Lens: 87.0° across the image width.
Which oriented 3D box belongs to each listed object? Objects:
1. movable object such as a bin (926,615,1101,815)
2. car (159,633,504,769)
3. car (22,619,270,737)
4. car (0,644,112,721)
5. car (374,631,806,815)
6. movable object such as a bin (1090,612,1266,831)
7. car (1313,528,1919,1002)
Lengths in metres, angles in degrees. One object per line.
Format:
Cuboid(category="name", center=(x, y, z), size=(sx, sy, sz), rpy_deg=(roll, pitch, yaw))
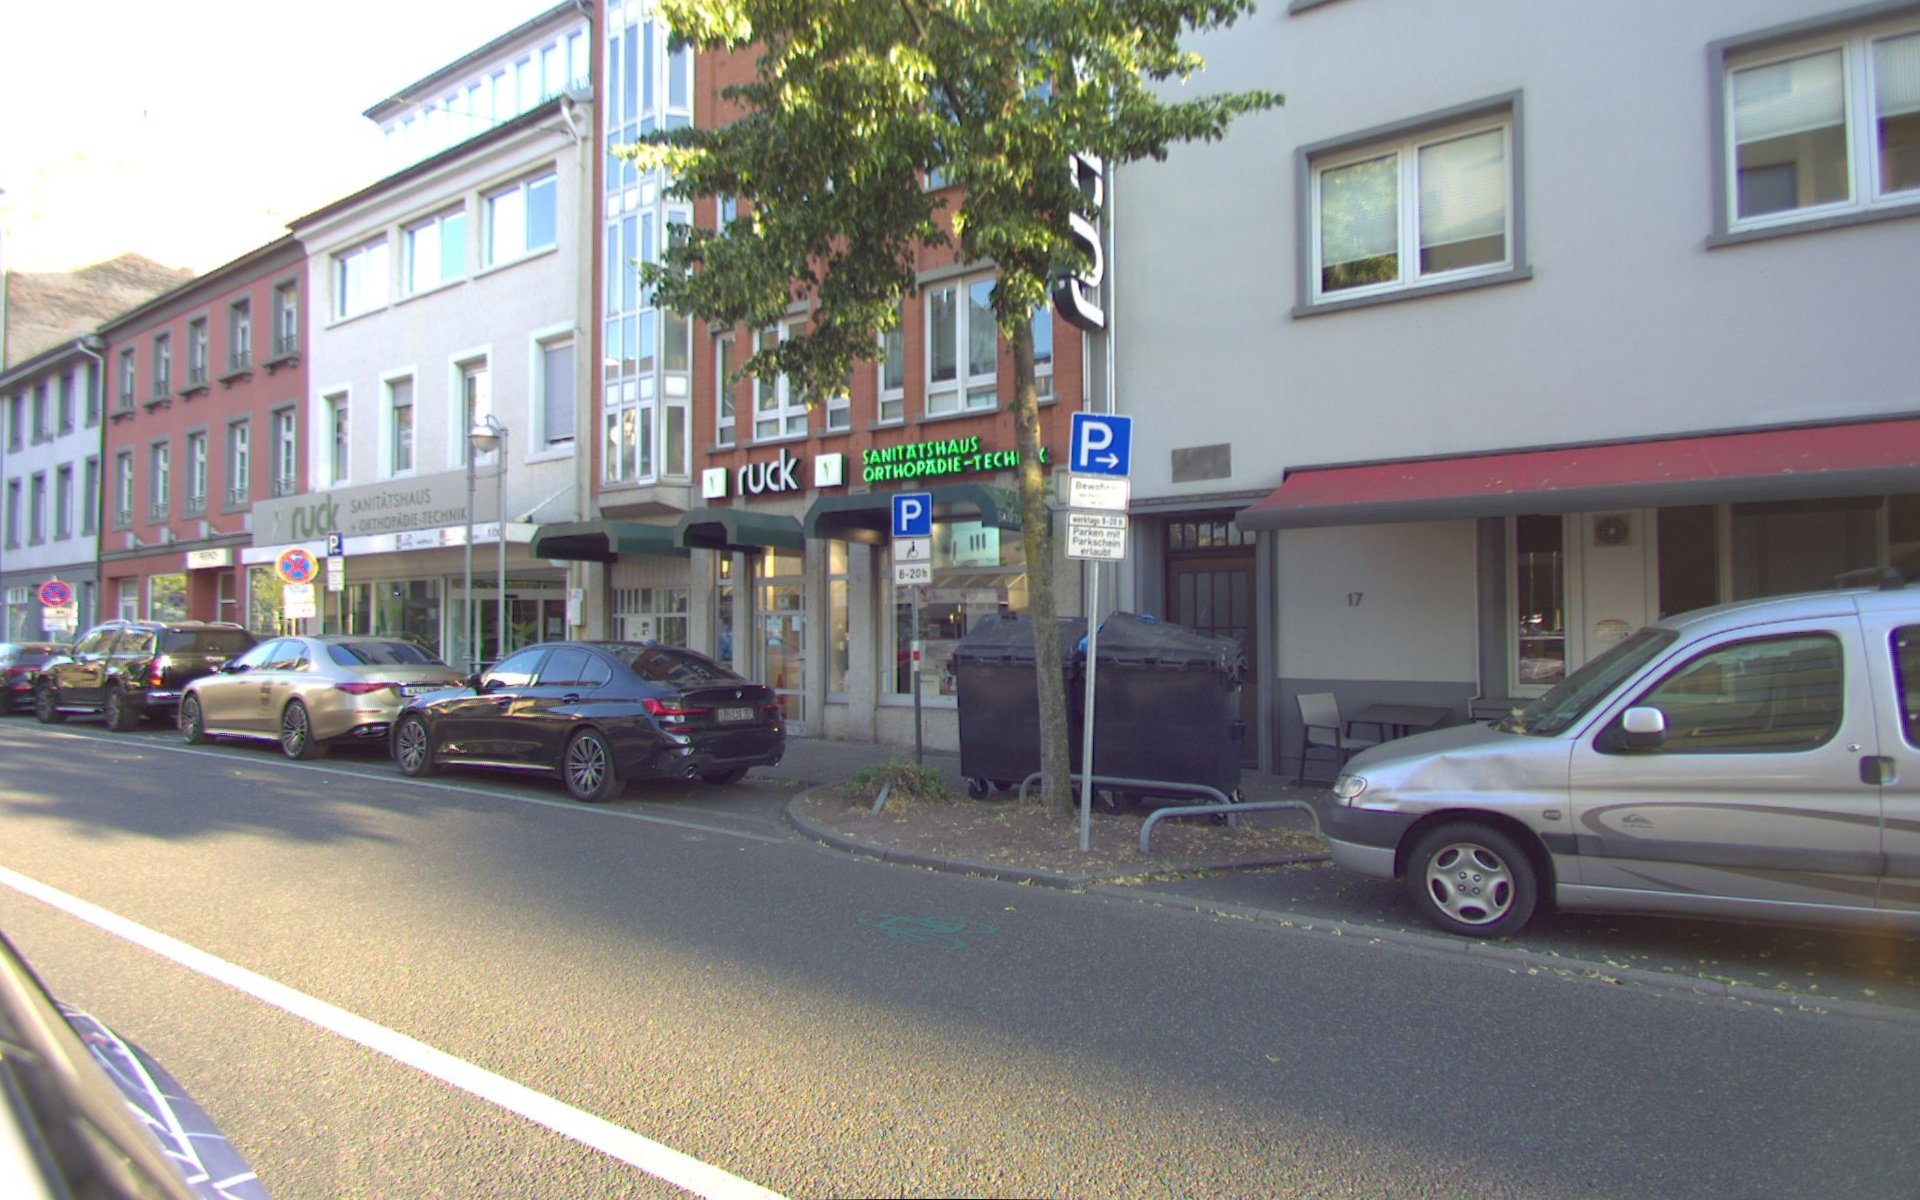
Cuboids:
Cuboid(category="movable object such as a bin", center=(0.475, 0.960, 9.000), size=(1.331, 1.632, 0.775), rpy_deg=(-1, -1, 30))
Cuboid(category="car", center=(-8.435, 1.237, 13.429), size=(5.094, 1.484, 1.977), rpy_deg=(-2, -4, 34))
Cuboid(category="car", center=(-14.042, 1.290, 17.378), size=(4.921, 1.793, 1.708), rpy_deg=(-2, -4, 31))
Cuboid(category="car", center=(-19.256, 1.652, 20.734), size=(4.001, 1.448, 1.688), rpy_deg=(-2, -5, 32))
Cuboid(category="car", center=(-3.829, 1.108, 10.185), size=(4.528, 1.484, 1.706), rpy_deg=(-2, -5, 33))
Cuboid(category="movable object such as a bin", center=(1.781, 0.931, 8.268), size=(1.203, 1.632, 0.775), rpy_deg=(-1, 0, 30))
Cuboid(category="car", center=(3.992, 0.710, 4.979), size=(4.038, 1.902, 1.657), rpy_deg=(-1, -4, 31))
